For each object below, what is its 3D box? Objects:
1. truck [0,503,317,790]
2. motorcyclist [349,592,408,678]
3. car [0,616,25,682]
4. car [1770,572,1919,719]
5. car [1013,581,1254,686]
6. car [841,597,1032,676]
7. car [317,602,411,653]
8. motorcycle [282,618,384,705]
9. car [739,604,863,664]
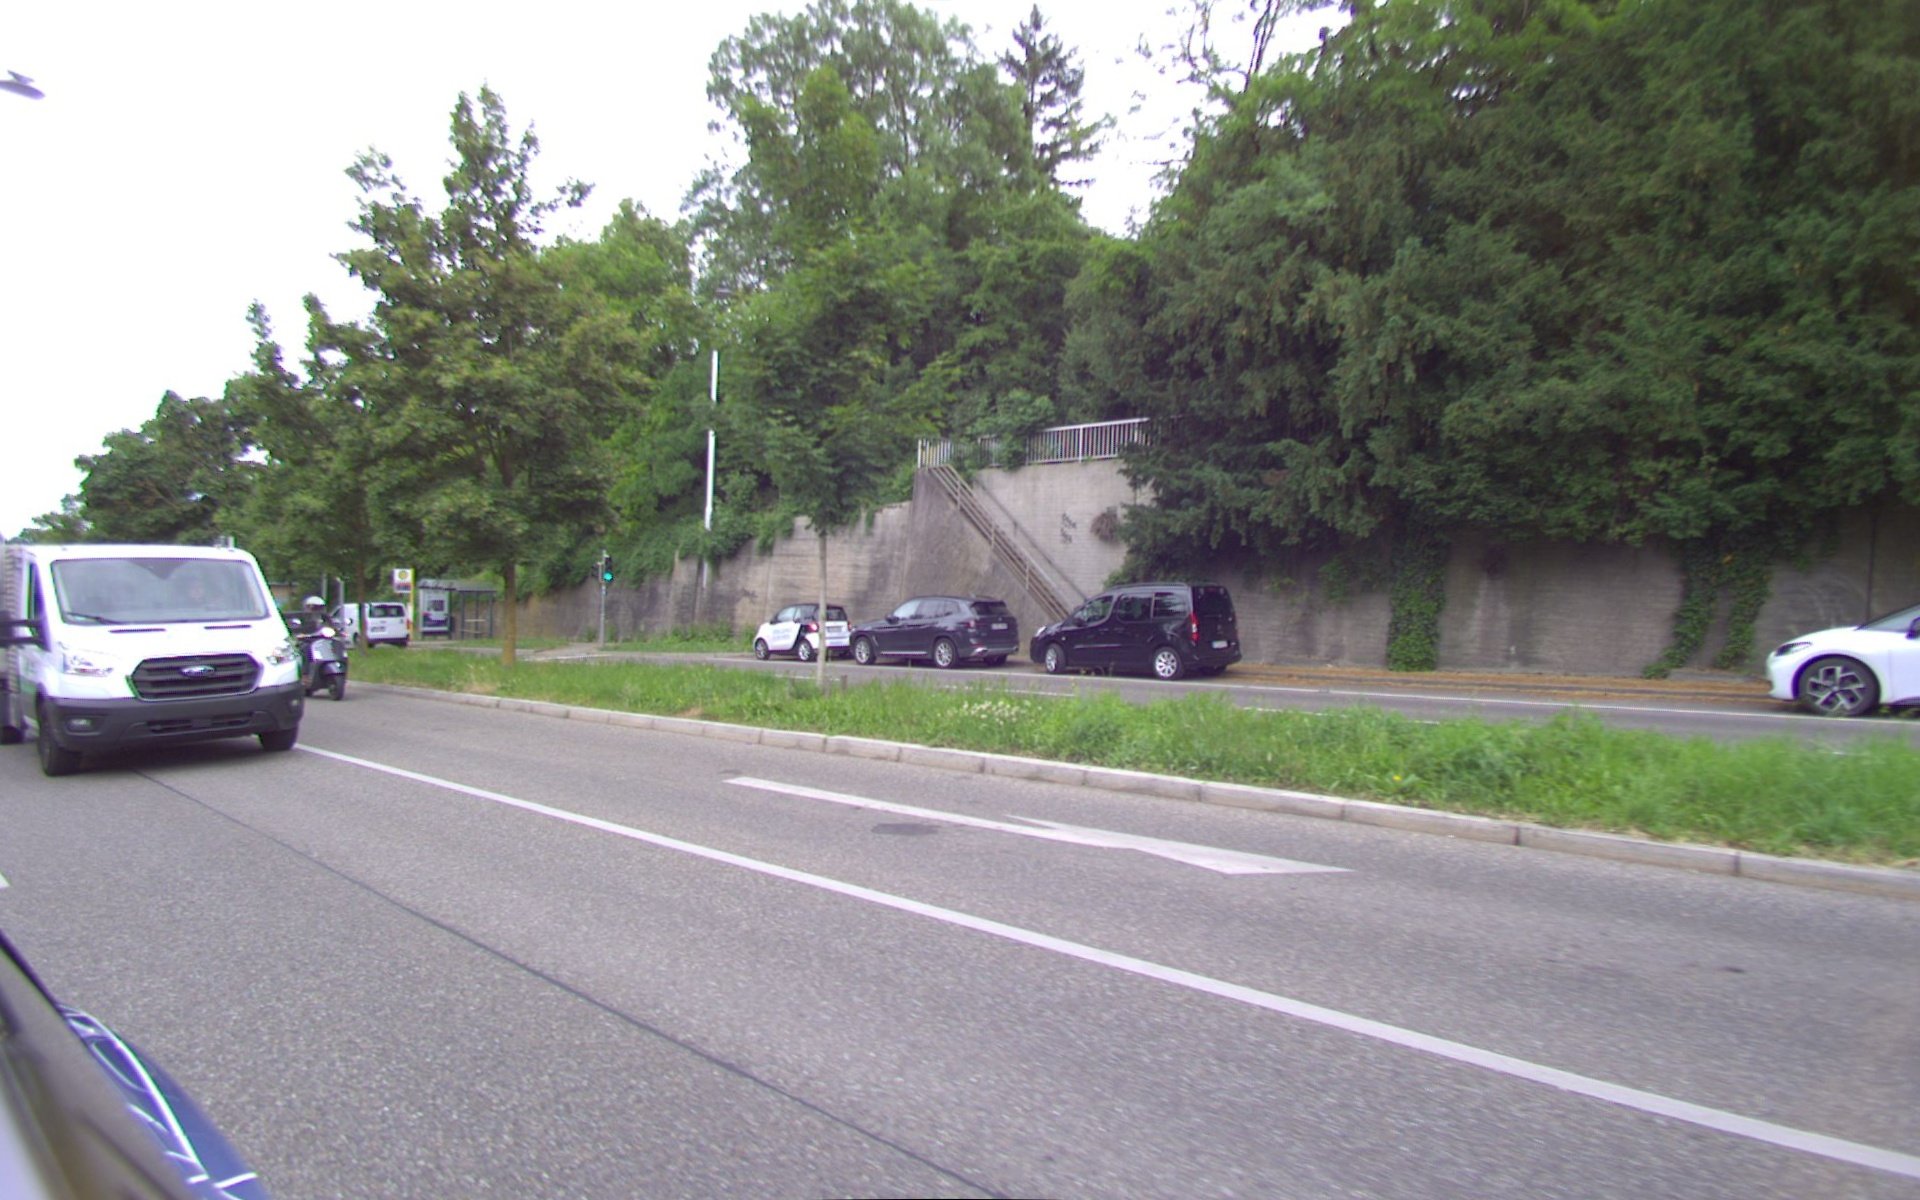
[{"bbox_3d":[-9.366,0.405,11.075,6.325,2.338,2.055,-1,0,39],"label":"truck"},{"bbox_3d":[-9.888,0.588,17.214,0.722,1.429,0.675,-2,-1,41],"label":"motorcyclist"},{"bbox_3d":[-23.914,1.192,24.185,4.399,1.492,1.891,-2,0,42],"label":"car"},{"bbox_3d":[11.853,0.471,11.304,1.759,1.641,4.173,-1,0,-44],"label":"car"},{"bbox_3d":[3.333,0.636,20.116,4.490,1.857,1.760,-2,0,45],"label":"car"},{"bbox_3d":[-0.641,0.810,24.015,1.947,1.669,4.535,-1,0,-44],"label":"car"},{"bbox_3d":[-24.721,1.111,41.881,5.020,1.972,1.918,-1,0,42],"label":"car"},{"bbox_3d":[-10.146,0.960,16.346,2.044,1.309,0.819,-2,-1,40],"label":"motorcycle"},{"bbox_3d":[-4.394,0.927,27.791,3.095,1.510,1.762,-2,0,41],"label":"car"}]
